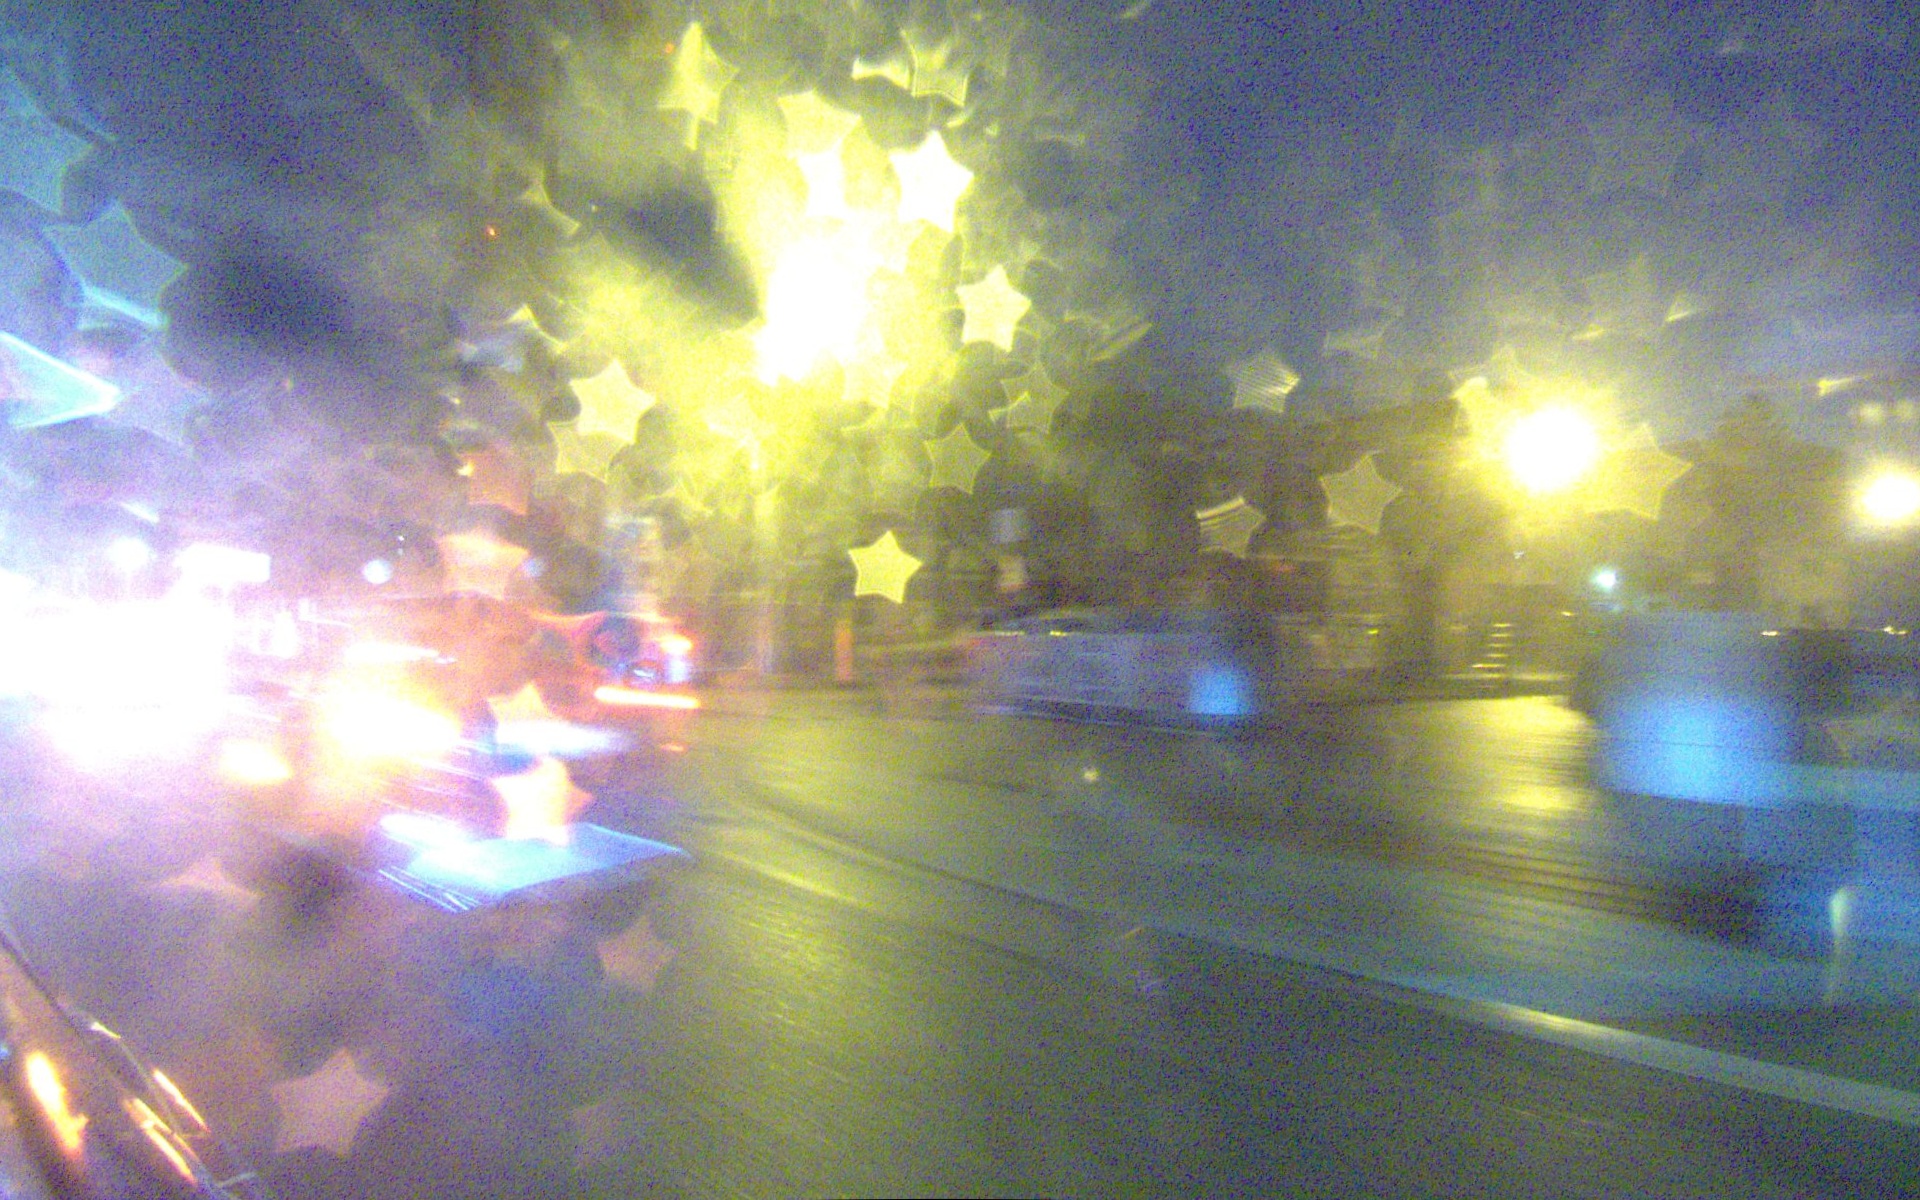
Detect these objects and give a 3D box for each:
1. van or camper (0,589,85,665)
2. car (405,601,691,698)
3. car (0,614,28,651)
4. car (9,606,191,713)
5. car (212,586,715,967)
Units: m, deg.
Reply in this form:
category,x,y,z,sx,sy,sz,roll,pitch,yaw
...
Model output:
category,x,y,z,sx,sy,sz,roll,pitch,yaw
van or camper,-27.779,0.803,30.298,4.943,2.119,1.849,-1,-3,43
car,-7.710,0.930,19.168,4.629,1.631,2.004,2,-4,-39
car,-38.722,1.316,40.604,4.001,1.444,1.725,-2,-3,44
car,-14.032,0.867,16.417,4.579,1.472,1.776,-1,0,43
car,-2.805,0.724,5.530,2.792,1.510,1.531,-1,-1,42
